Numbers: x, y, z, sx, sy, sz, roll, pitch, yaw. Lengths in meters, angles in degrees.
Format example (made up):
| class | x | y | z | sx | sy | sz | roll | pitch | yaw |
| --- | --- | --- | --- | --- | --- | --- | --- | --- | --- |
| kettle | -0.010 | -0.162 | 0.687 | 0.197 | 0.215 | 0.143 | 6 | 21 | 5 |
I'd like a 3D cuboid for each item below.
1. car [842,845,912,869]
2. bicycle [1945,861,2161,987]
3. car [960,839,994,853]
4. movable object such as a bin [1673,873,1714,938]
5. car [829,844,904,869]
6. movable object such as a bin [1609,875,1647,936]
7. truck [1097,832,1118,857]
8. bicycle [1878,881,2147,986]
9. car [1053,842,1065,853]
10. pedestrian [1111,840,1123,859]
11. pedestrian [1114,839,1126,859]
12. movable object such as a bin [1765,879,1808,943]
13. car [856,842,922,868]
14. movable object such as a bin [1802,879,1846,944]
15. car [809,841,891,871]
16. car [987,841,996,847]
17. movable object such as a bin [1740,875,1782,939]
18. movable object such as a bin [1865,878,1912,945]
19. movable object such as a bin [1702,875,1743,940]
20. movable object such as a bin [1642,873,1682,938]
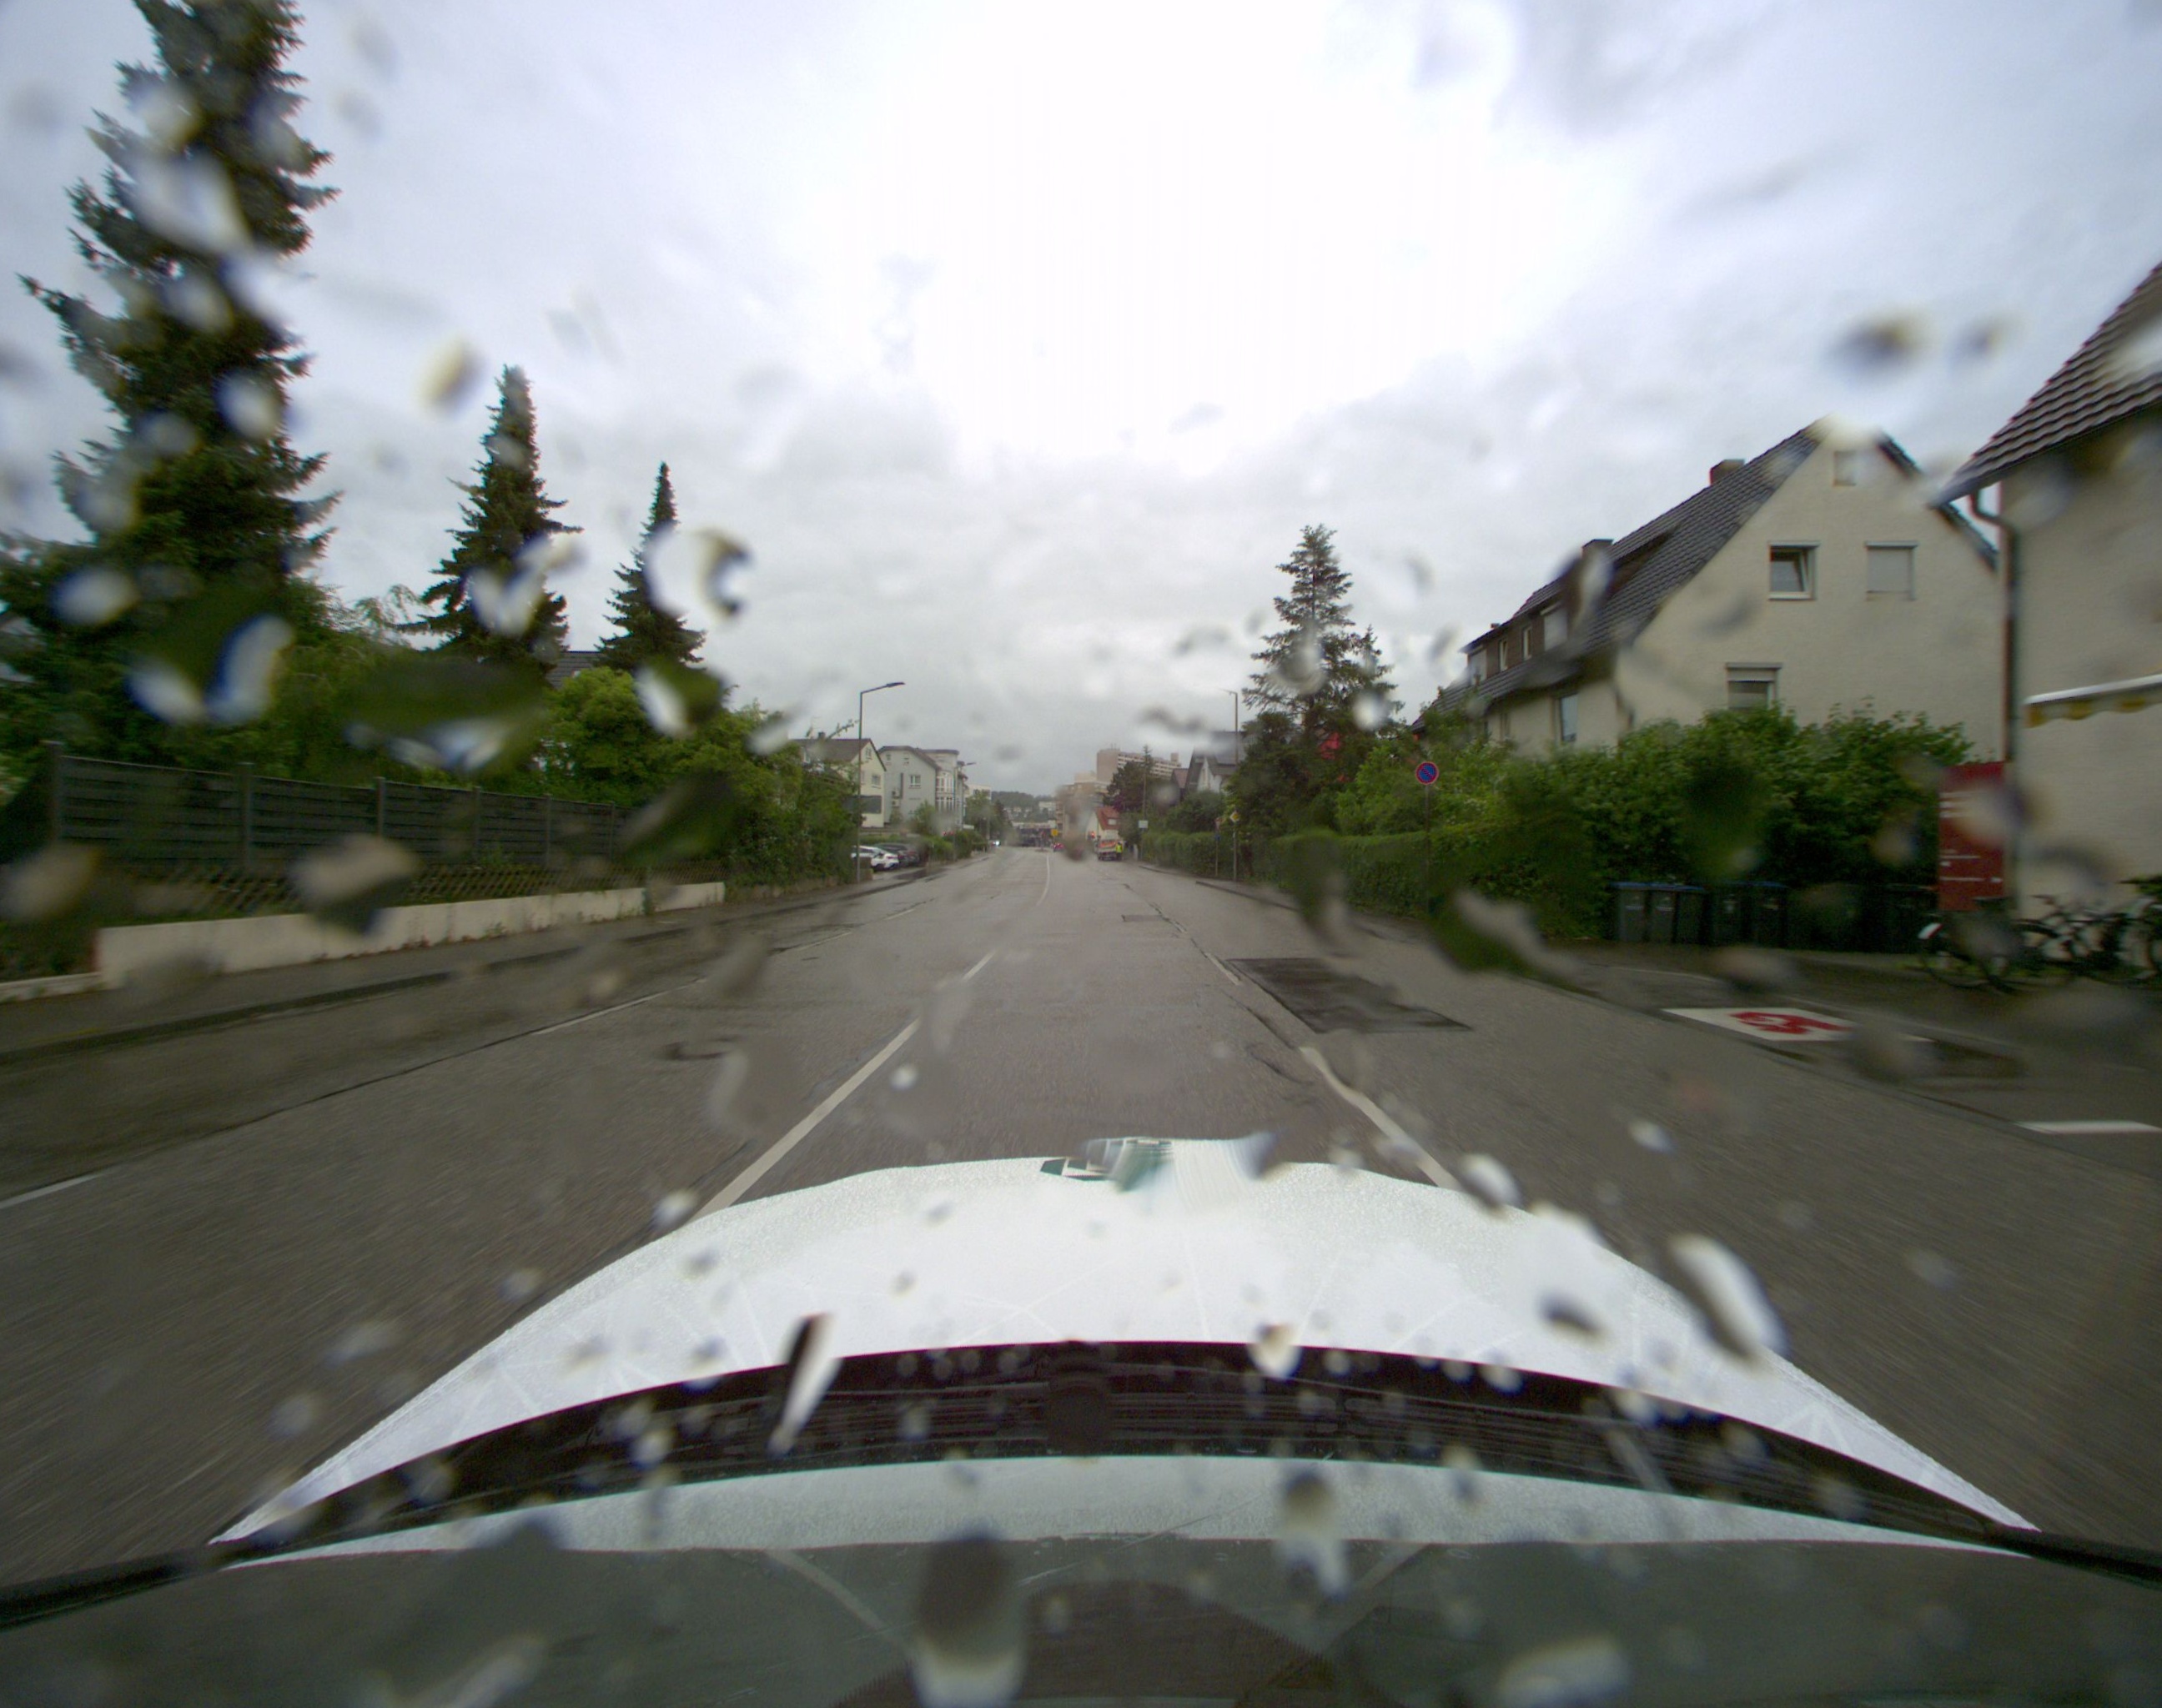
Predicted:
| class | x | y | z | sx | sy | sz | roll | pitch | yaw |
| --- | --- | --- | --- | --- | --- | --- | --- | --- | --- |
| car | -13.022 | 0.182 | 52.091 | 3.968 | 1.446 | 1.708 | 0 | 0 | 5 |
| bicycle | 9.262 | 0.643 | 7.496 | 1.631 | 1.048 | 0.626 | -4 | -1 | 21 |
| car | -15.544 | -1.248 | 121.980 | 4.492 | 2.013 | 2.007 | 2 | 1 | 12 |
| movable object such as a bin | 9.577 | 0.802 | 12.744 | 0.365 | 0.987 | 0.355 | 0 | 0 | 0 |
| car | -13.108 | 0.145 | 49.915 | 3.969 | 1.434 | 1.973 | 1 | 1 | 4 |
| movable object such as a bin | 8.530 | 0.798 | 12.710 | 0.365 | 0.916 | 0.327 | 0 | 0 | 0 |
| truck | 2.562 | -0.901 | 78.156 | 1.986 | 2.303 | 4.002 | 0 | 1 | 2 |
| bicycle | 9.272 | 0.798 | 8.193 | 1.631 | 0.933 | 0.626 | -4 | -1 | 21 |
| car | -3.599 | -1.078 | 133.580 | 1.788 | 1.669 | 3.999 | 0 | 0 | 0 |
| pedestrian | 3.315 | -0.391 | 74.308 | 0.825 | 1.726 | 0.836 | 0 | 0 | -19 |
| pedestrian | 3.549 | -0.417 | 73.417 | 0.826 | 1.797 | 0.795 | 0 | 0 | -20 |
| movable object such as a bin | 11.076 | 0.889 | 12.794 | 0.365 | 0.987 | 0.355 | 0 | 0 | 0 |
| car | -13.187 | 0.065 | 55.986 | 3.966 | 1.686 | 1.812 | 0 | 0 | 7 |
| movable object such as a bin | 11.608 | 0.887 | 12.734 | 0.365 | 0.987 | 0.355 | 0 | 0 | 0 |
| car | -13.339 | 0.111 | 47.185 | 4.082 | 1.585 | 1.958 | 2 | 0 | 2 |
| car | -20.932 | -2.274 | 190.378 | 1.655 | 1.463 | 3.997 | 0 | 0 | -2 |
| movable object such as a bin | 10.651 | 0.823 | 12.760 | 0.365 | 0.987 | 0.355 | 0 | 0 | 0 |
| movable object such as a bin | 12.373 | 0.873 | 12.476 | 0.365 | 0.987 | 0.355 | 0 | 0 | 0 |
| movable object such as a bin | 10.045 | 0.837 | 12.756 | 0.365 | 0.987 | 0.355 | 0 | 0 | 0 |
| movable object such as a bin | 9.088 | 0.801 | 12.742 | 0.365 | 0.987 | 0.355 | 0 | 0 | 0 |
